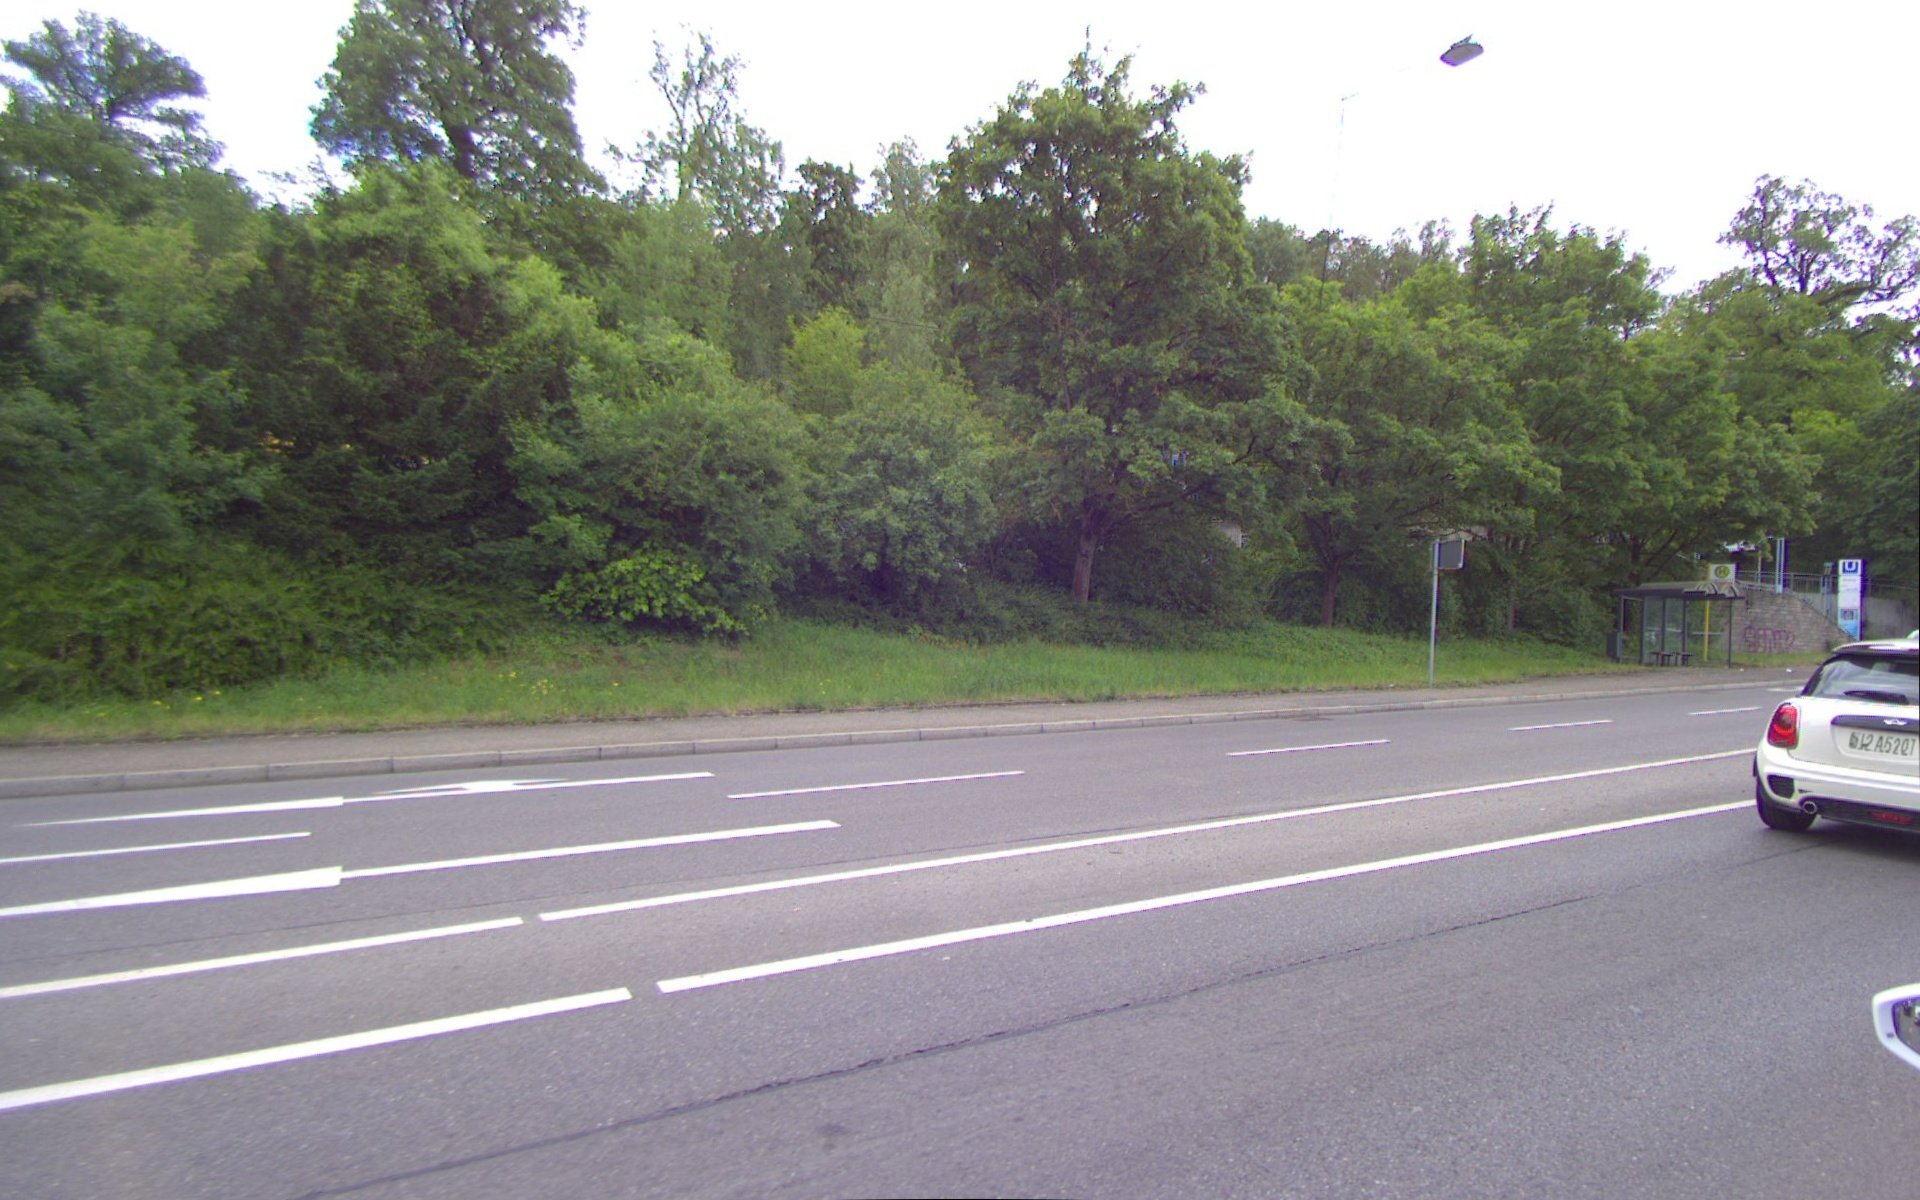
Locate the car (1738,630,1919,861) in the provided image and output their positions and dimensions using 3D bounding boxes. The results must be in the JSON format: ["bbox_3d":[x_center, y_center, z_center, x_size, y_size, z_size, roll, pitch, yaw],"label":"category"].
[{"bbox_3d":[7.403,0.949,7.225,3.522,1.412,1.621,1,-1,-29],"label":"car"}]

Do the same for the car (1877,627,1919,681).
[{"bbox_3d":[29.602,1.634,30.457,4.000,1.561,1.718,1,0,-33],"label":"car"}]
